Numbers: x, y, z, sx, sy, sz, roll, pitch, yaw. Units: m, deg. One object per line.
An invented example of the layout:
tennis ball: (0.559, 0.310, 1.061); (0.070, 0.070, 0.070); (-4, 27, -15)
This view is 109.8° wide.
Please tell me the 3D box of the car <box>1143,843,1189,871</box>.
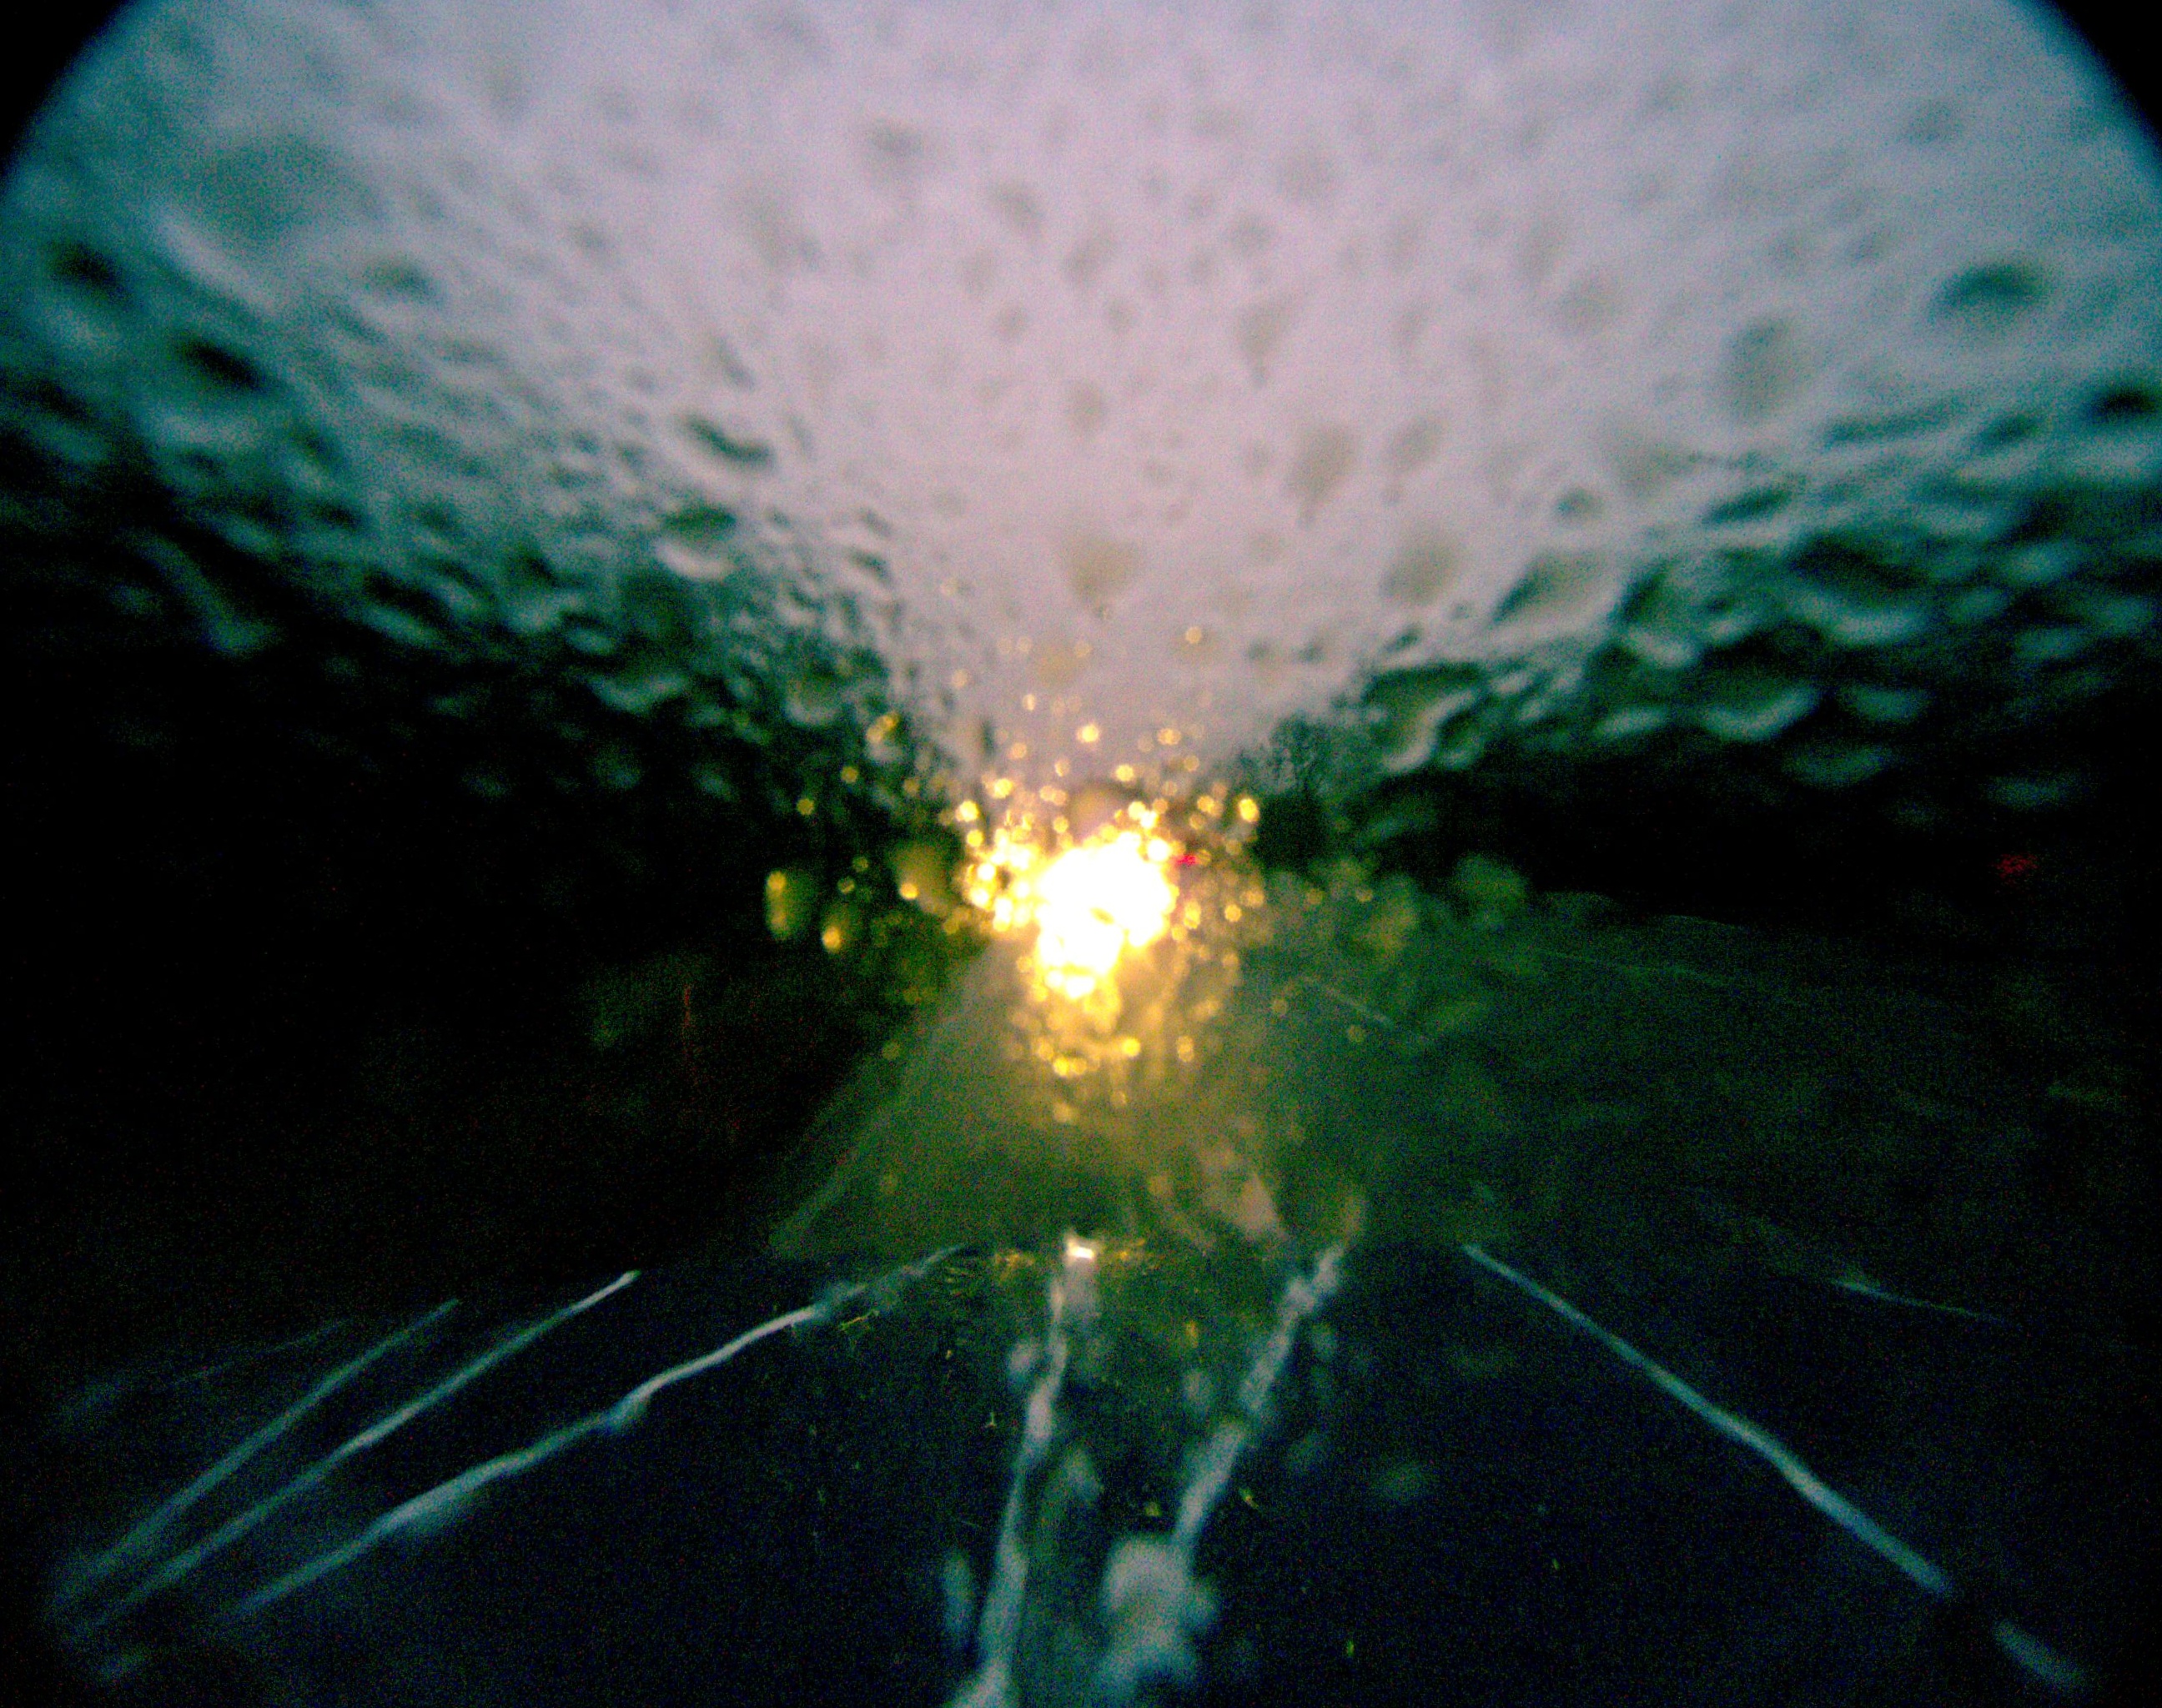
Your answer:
car: (5.379, 0.162, 48.821); (1.999, 1.639, 4.719); (-2, 1, -5)

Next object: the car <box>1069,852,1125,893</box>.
car: (0.568, 0.685, 30.259); (1.851, 1.429, 4.243); (-2, 1, -3)

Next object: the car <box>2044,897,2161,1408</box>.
car: (3.851, 0.832, 0.289); (1.636, 1.413, 4.170); (-3, 1, -1)

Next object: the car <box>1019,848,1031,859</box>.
car: (-8.882, -0.094, 119.409); (1.702, 1.721, 3.997); (-3, 1, -6)
